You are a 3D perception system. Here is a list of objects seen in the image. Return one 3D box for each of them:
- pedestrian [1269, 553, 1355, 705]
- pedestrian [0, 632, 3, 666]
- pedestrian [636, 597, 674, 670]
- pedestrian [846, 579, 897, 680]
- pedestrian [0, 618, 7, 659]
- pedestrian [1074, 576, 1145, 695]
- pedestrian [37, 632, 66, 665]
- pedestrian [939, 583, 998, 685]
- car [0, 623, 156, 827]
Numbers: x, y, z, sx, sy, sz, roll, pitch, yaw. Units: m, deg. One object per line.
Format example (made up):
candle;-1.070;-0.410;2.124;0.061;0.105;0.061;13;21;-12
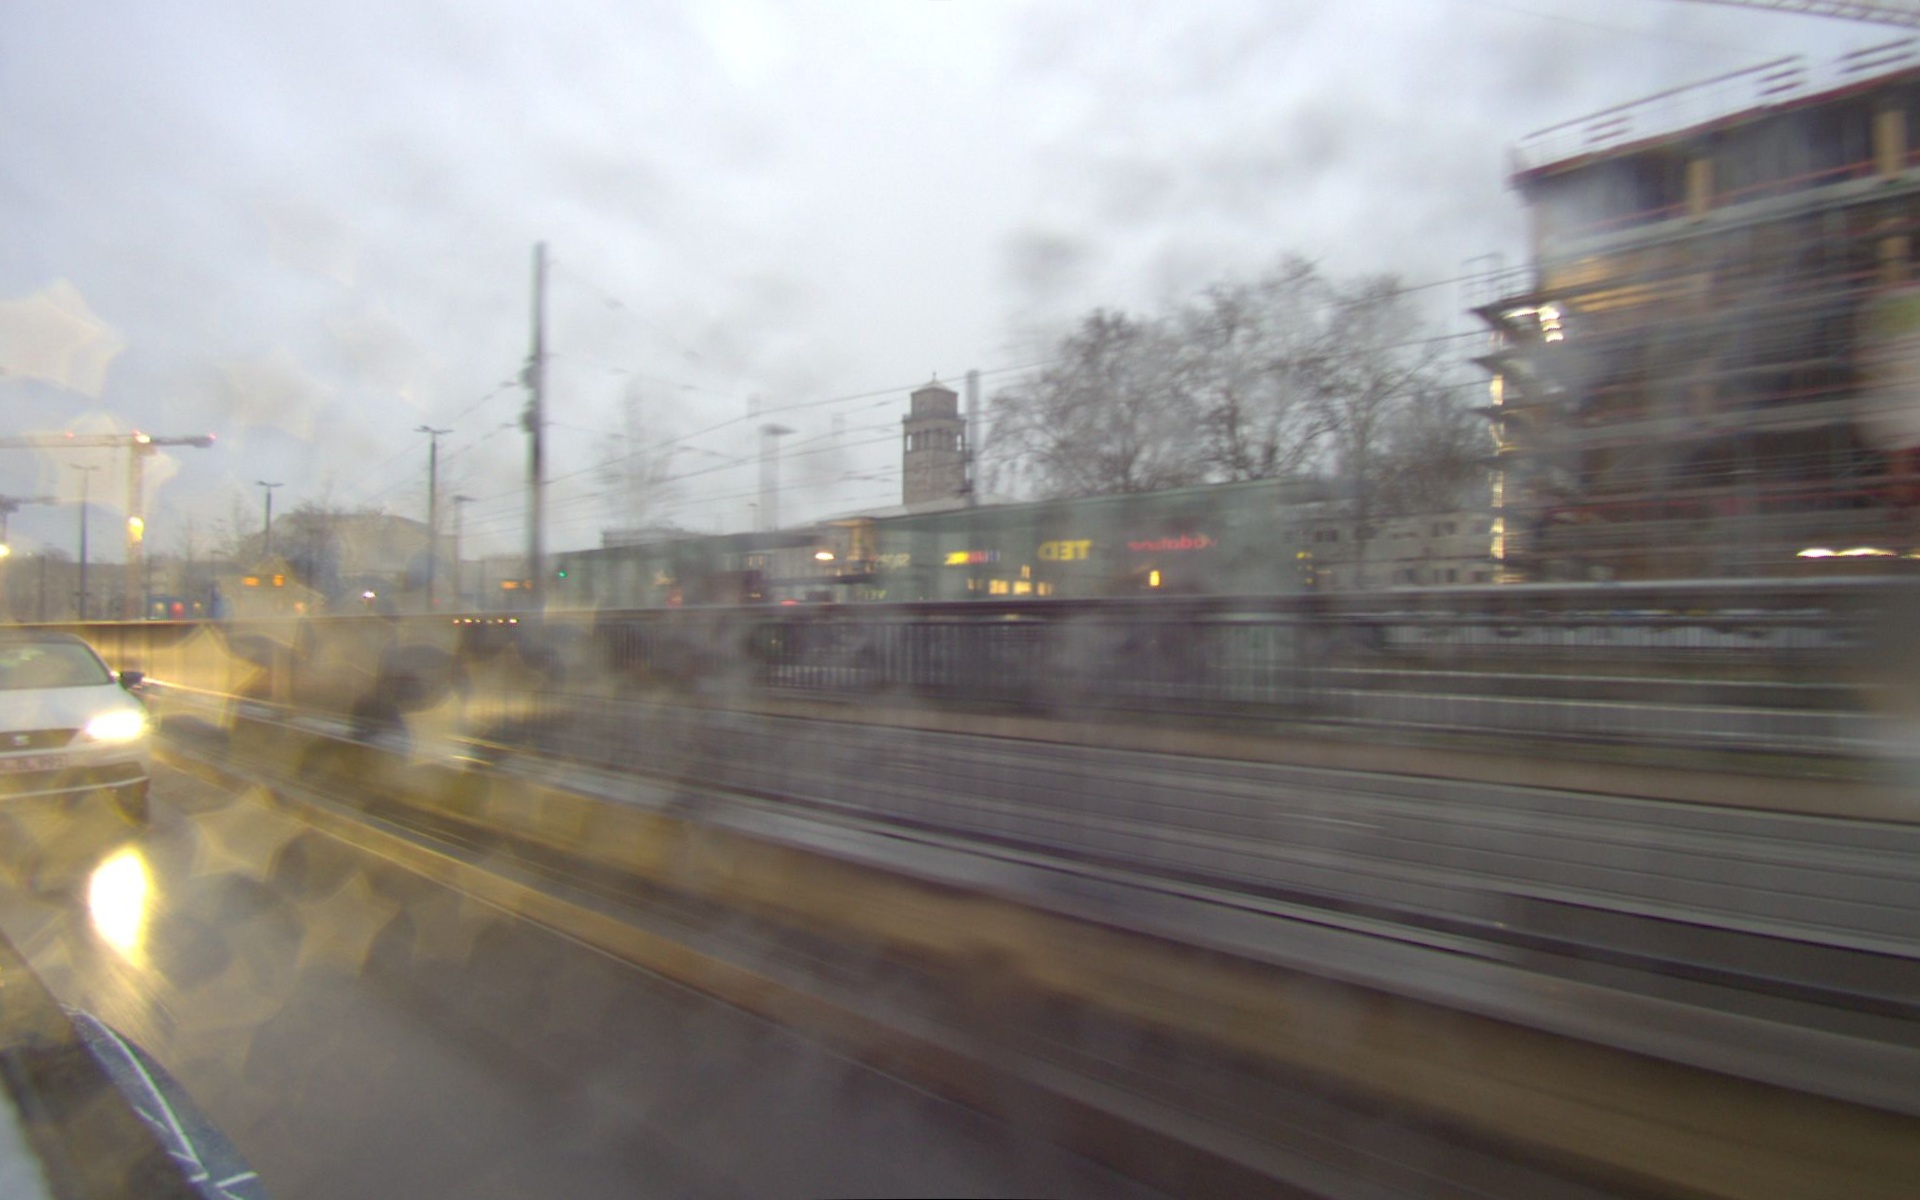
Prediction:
pedestrian;4.146;0.336;11.936;0.576;1.714;0.742;0;-1;-37
pedestrian;-49.057;2.500;51.185;0.743;1.731;0.650;-1;-1;16
pedestrian;-6.635;0.716;21.992;0.576;1.562;0.742;0;-1;-37
pedestrian;-1.537;0.502;17.549;0.576;1.714;0.742;0;-1;-37
pedestrian;-51.437;2.062;53.779;1.014;2.162;0.897;-1;-1;31
pedestrian;2.026;0.469;13.721;0.576;1.562;0.742;0;-1;-37
pedestrian;-47.840;2.535;53.281;0.758;1.727;0.856;-1;-1;15
pedestrian;0.132;0.530;15.922;0.576;1.562;0.742;0;-1;-37
car;-8.528;0.967;8.890;4.140;1.484;1.789;-2;-1;44
